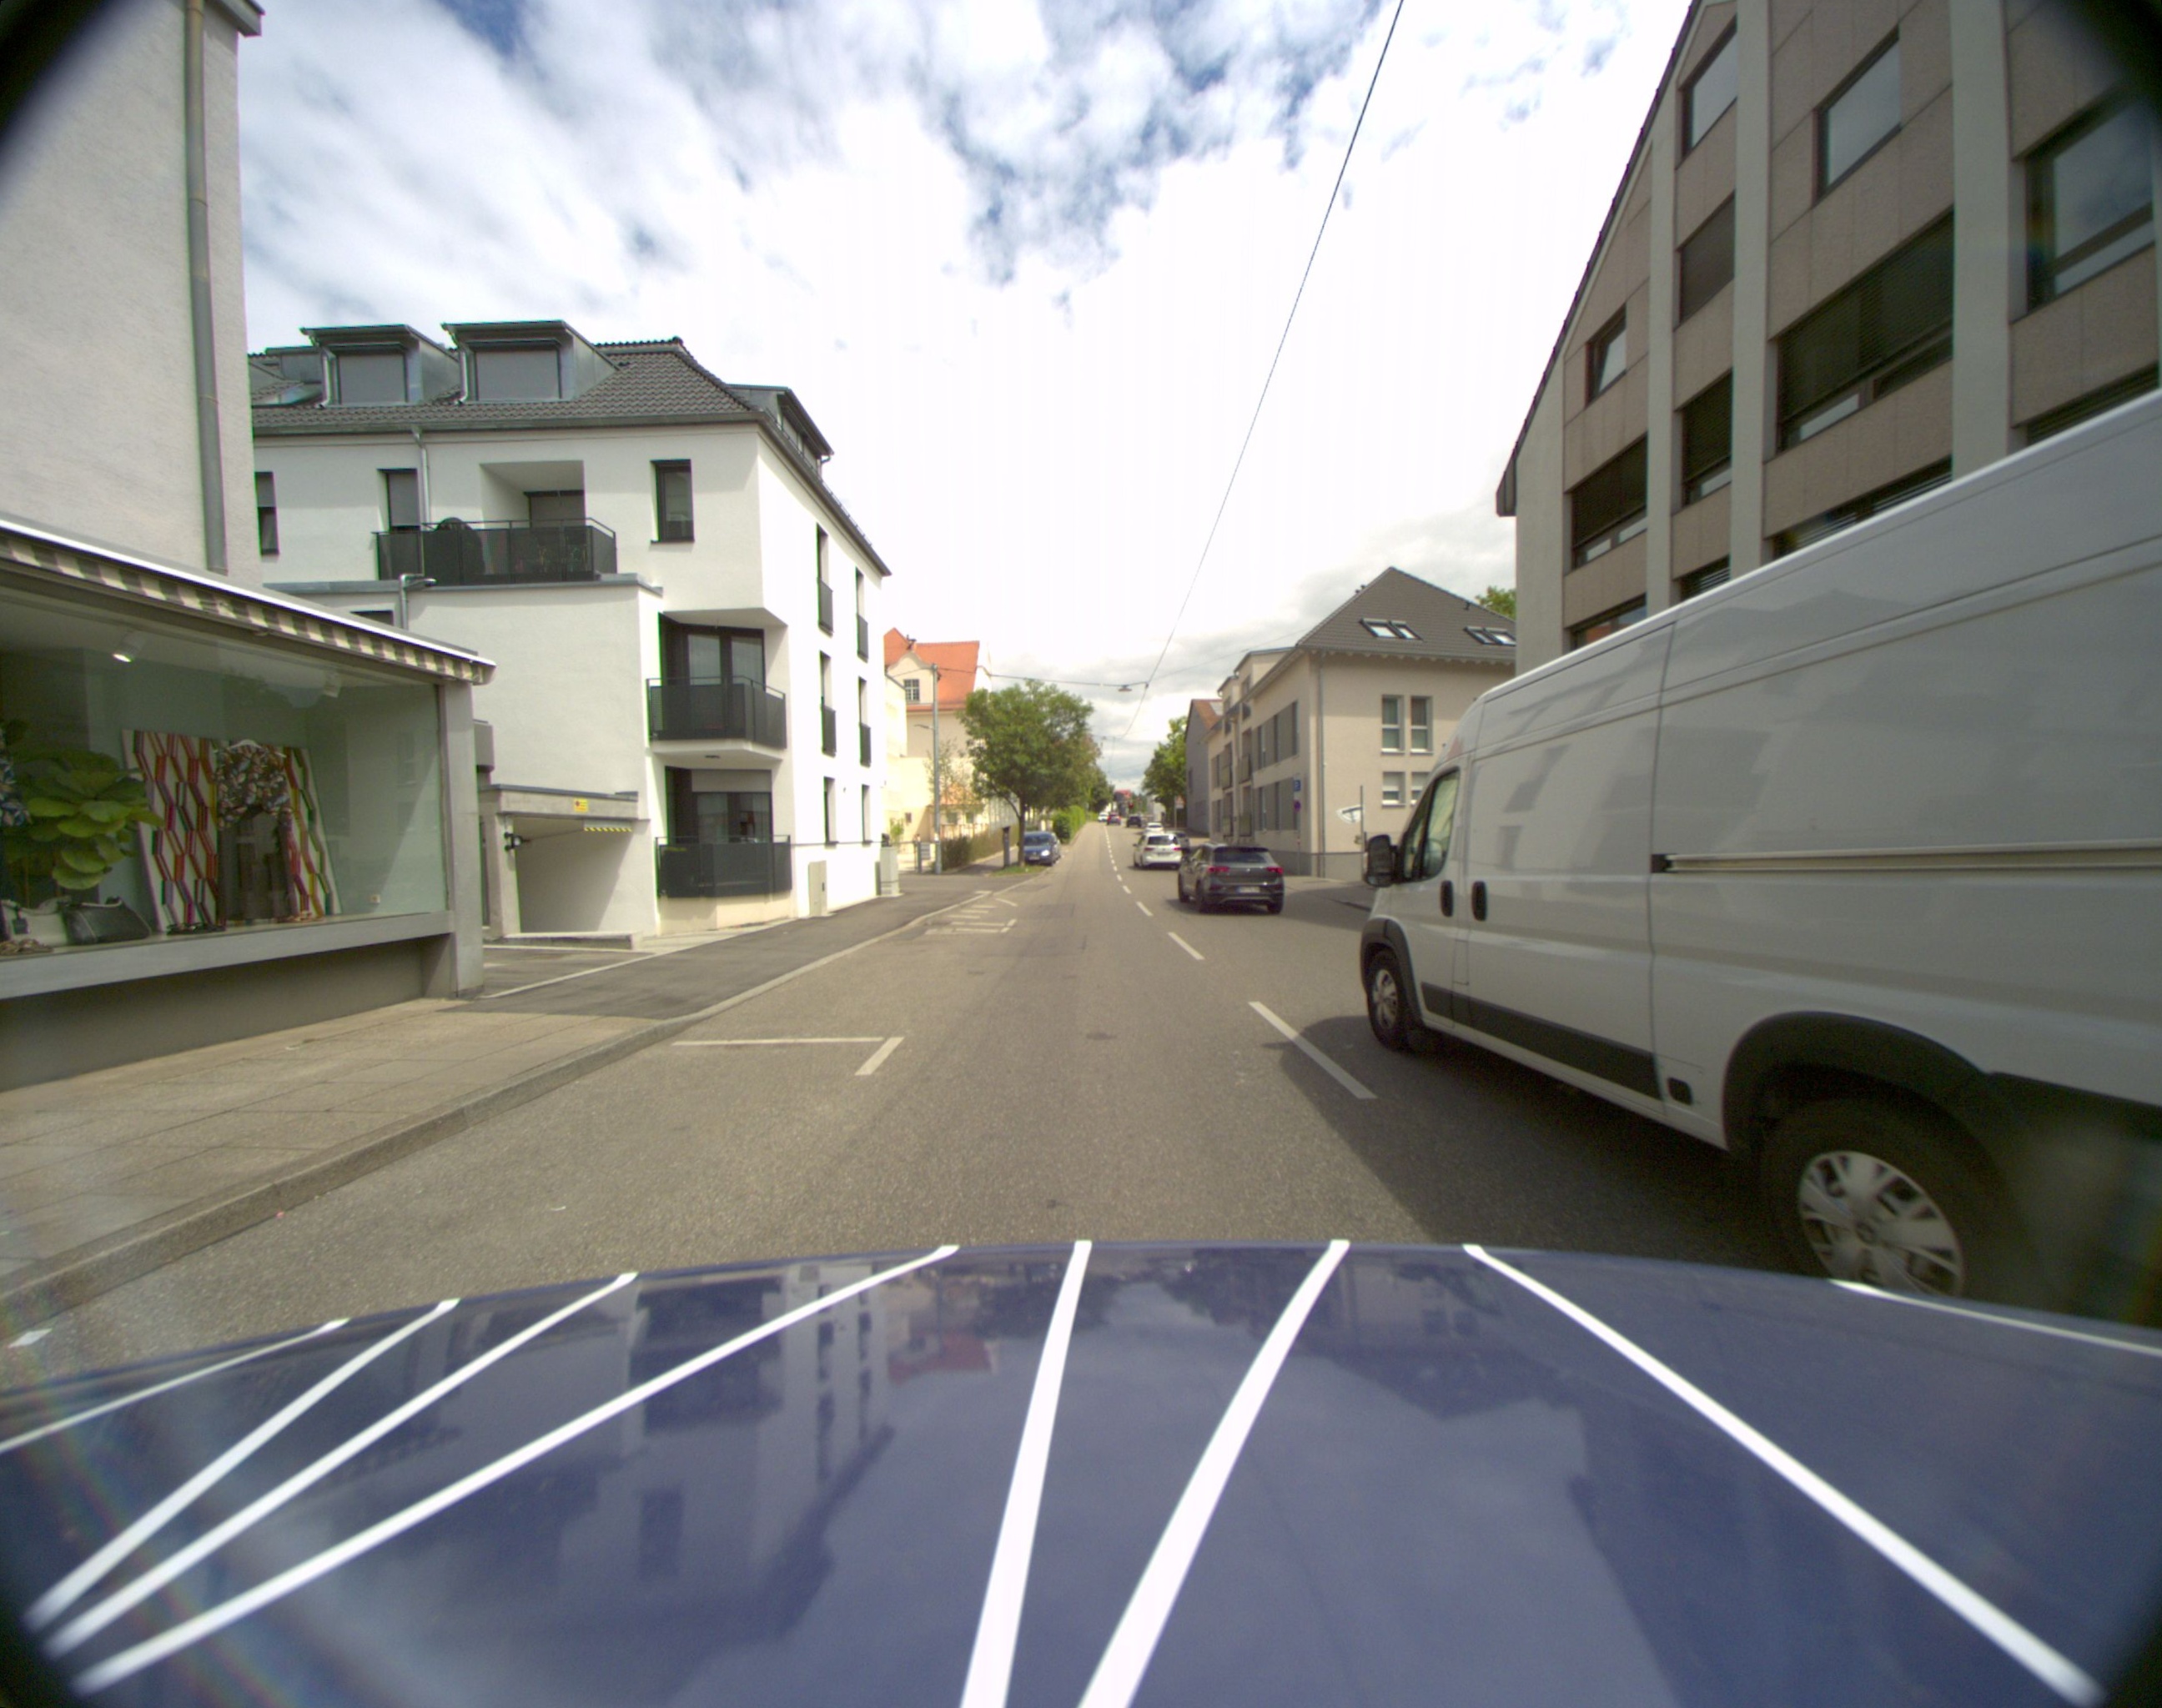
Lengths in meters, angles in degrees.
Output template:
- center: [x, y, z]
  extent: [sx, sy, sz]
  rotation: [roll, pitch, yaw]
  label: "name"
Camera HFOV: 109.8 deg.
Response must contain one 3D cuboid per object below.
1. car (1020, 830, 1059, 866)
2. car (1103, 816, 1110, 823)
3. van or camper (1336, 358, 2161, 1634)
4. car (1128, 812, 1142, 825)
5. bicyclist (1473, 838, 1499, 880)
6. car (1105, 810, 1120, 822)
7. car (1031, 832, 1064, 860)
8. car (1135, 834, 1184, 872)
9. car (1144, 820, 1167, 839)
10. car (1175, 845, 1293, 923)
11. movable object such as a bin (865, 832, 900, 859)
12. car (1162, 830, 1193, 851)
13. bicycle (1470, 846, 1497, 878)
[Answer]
- center: [-2.099, -0.365, 39.573]
  extent: [1.698, 1.734, 4.158]
  rotation: [-1, 2, 1]
  label: "car"
- center: [4.809, -6.493, 143.000]
  extent: [1.298, 1.148, 2.983]
  rotation: [-3, 0, 1]
  label: "car"
- center: [3.215, 0.267, 3.590]
  extent: [2.154, 2.541, 5.437]
  rotation: [-1, 0, 0]
  label: "van or camper"
- center: [7.143, -4.734, 101.070]
  extent: [1.672, 1.546, 3.963]
  rotation: [0, 4, 1]
  label: "car"
- center: [12.160, 0.141, 22.818]
  extent: [0.640, 1.235, 0.427]
  rotation: [0, 4, 34]
  label: "bicyclist"
- center: [4.572, -5.571, 111.139]
  extent: [1.946, 1.709, 4.595]
  rotation: [-1, 2, 0]
  label: "car"
- center: [-1.952, -0.517, 45.440]
  extent: [1.677, 1.511, 3.668]
  rotation: [-1, 3, 1]
  label: "car"
- center: [3.530, -0.092, 34.861]
  extent: [1.779, 1.604, 4.118]
  rotation: [0, 2, -1]
  label: "car"
- center: [6.621, -2.230, 67.986]
  extent: [1.737, 1.480, 4.064]
  rotation: [0, 4, 1]
  label: "car"
- center: [3.385, 0.592, 17.551]
  extent: [1.796, 1.503, 3.842]
  rotation: [-1, 2, -2]
  label: "car"
- center: [-11.221, -0.507, 42.978]
  extent: [1.351, 1.439, 1.806]
  rotation: [-2, 3, 2]
  label: "movable object such as a bin"
- center: [6.298, -0.886, 49.928]
  extent: [1.665, 1.322, 3.473]
  rotation: [-1, 1, 1]
  label: "car"
- center: [12.070, 0.229, 22.762]
  extent: [0.458, 0.912, 1.592]
  rotation: [-1, 1, 37]
  label: "bicycle"
